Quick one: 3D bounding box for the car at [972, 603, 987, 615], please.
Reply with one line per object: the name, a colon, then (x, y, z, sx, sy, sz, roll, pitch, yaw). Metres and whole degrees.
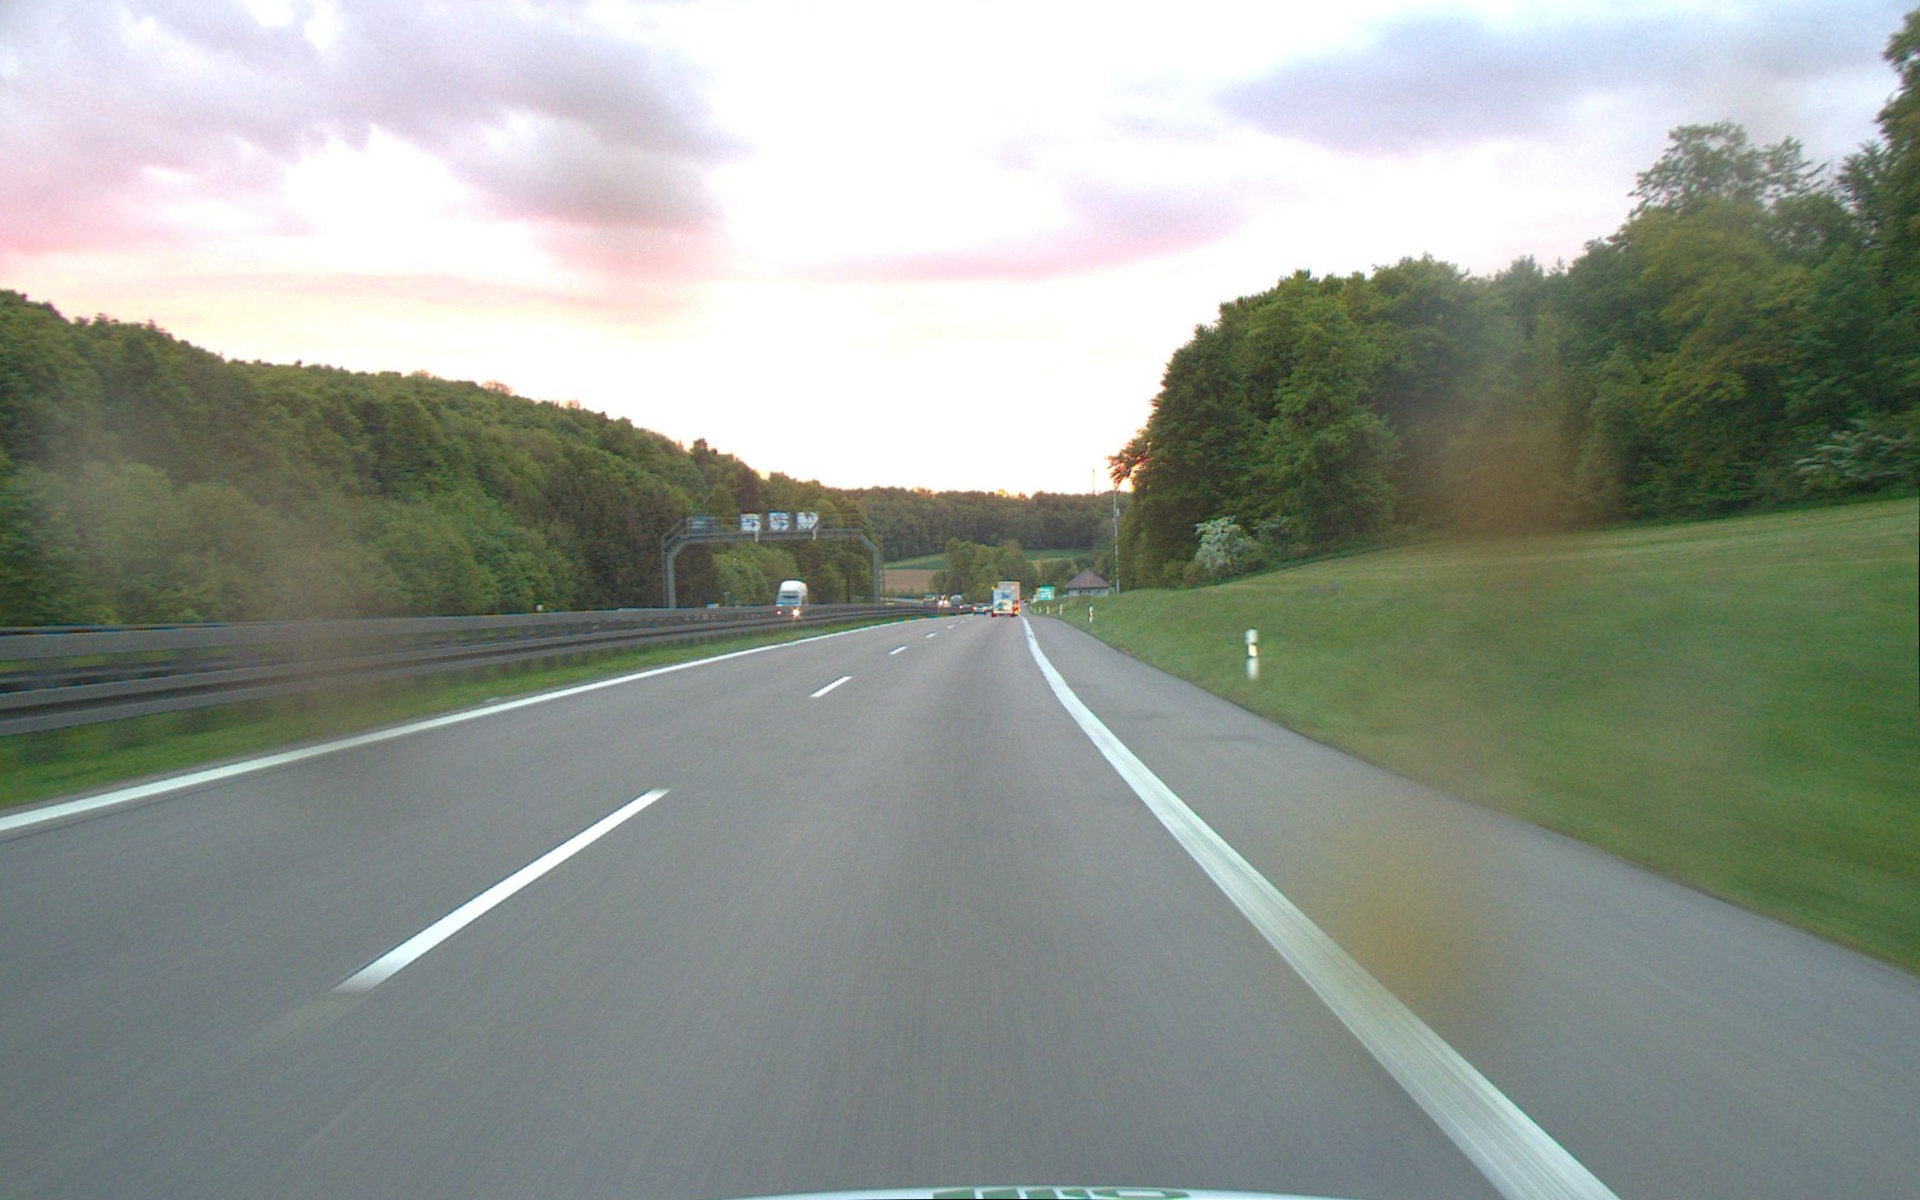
car: (2.701, 1.226, 228.204, 1.952, 1.543, 4.001, -1, 1, 1)

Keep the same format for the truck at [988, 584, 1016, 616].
truck: (3.943, -0.045, 153.881, 2.228, 2.711, 5.240, -2, 2, 5)

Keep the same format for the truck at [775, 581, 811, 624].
truck: (-12.432, 0.159, 123.760, 1.952, 3.121, 5.596, 0, 0, 2)

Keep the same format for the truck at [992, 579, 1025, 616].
truck: (5.914, -0.414, 204.806, 3.876, 4.361, 14.327, -1, 1, 1)
